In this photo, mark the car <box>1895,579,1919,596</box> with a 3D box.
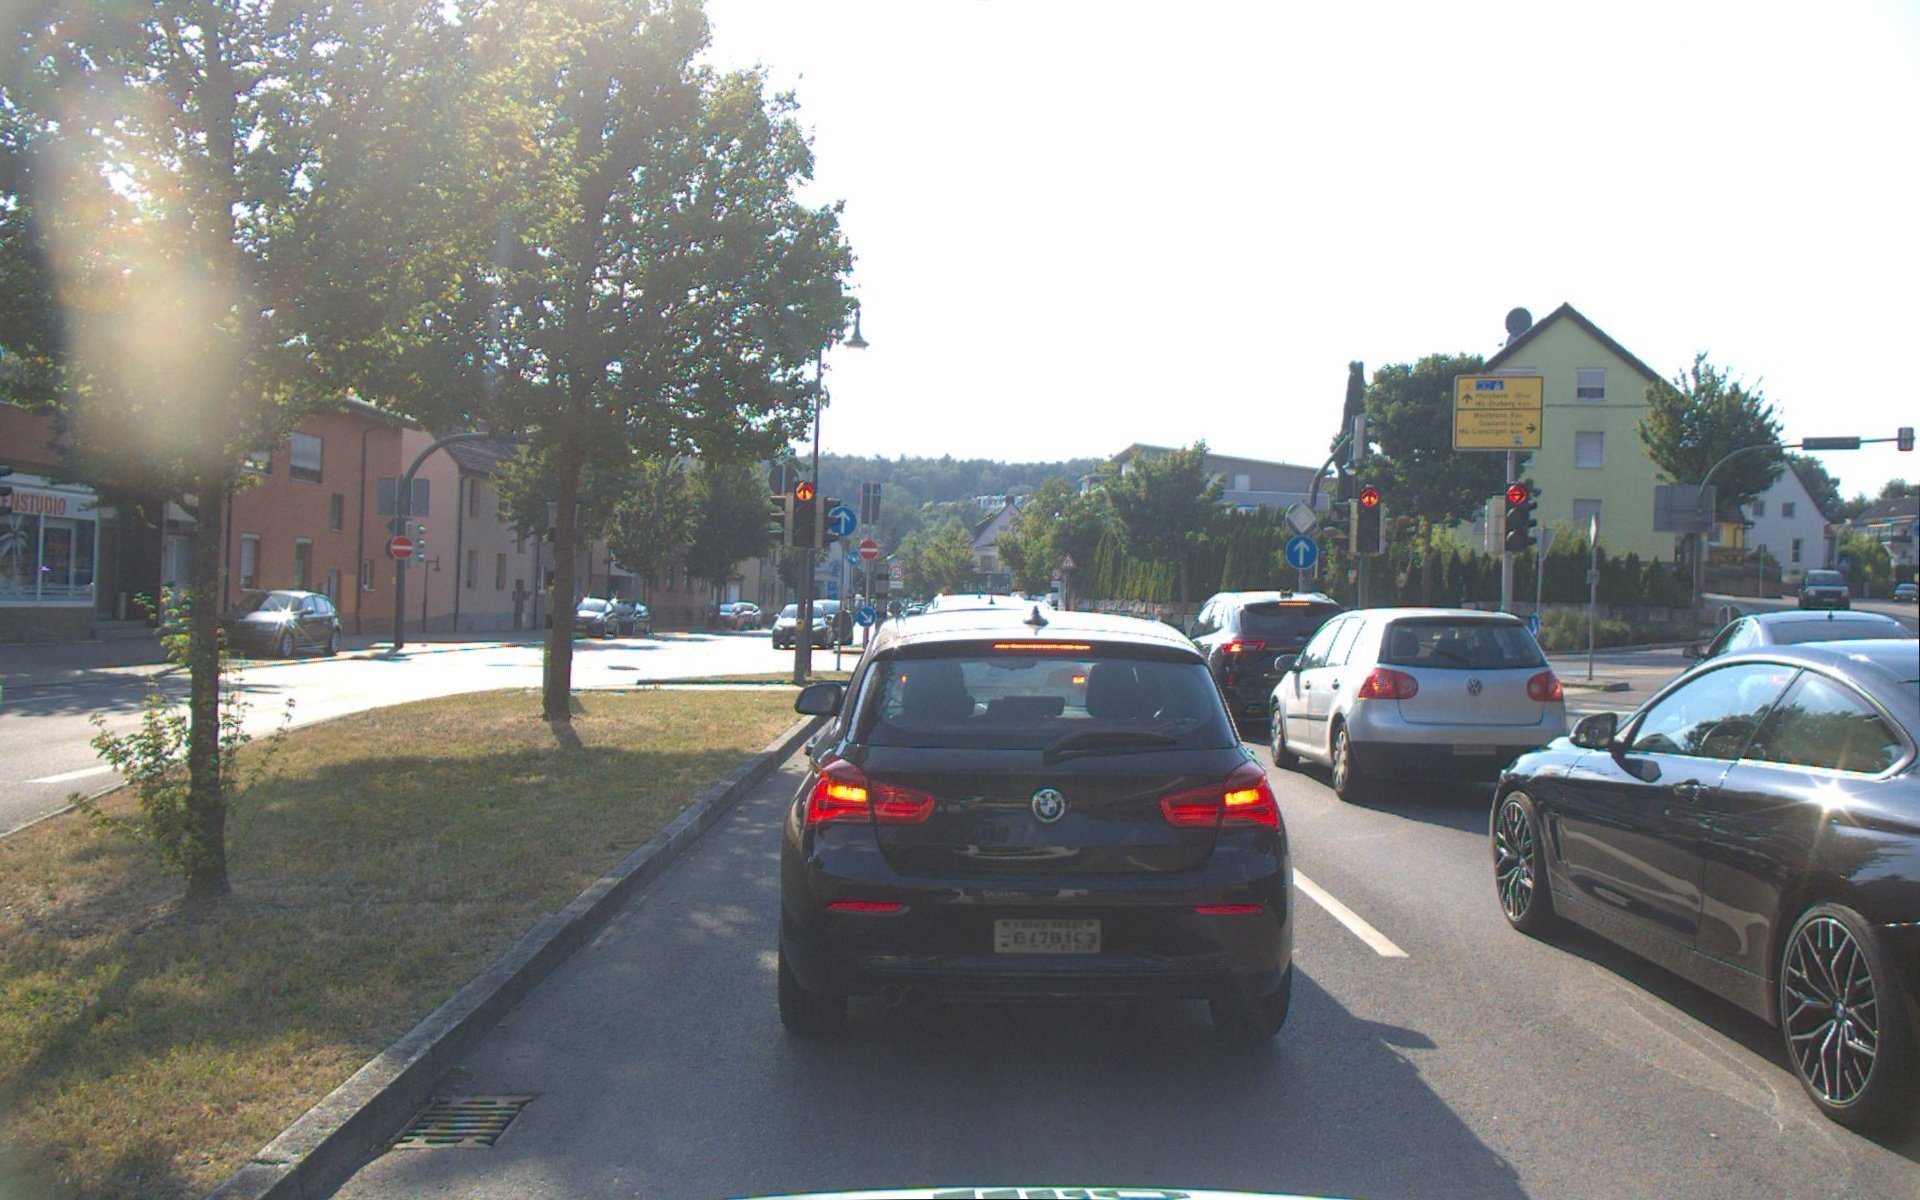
[{"bbox_3d":[75.440,-0.991,131.669,1.678,1.266,3.995,1,1,28],"label":"car"}]

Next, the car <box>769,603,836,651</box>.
[{"bbox_3d":[-5.193,0.867,54.943,1.730,1.484,4.000,1,0,1],"label":"car"}]

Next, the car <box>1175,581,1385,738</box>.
[{"bbox_3d":[3.790,0.644,20.309,1.779,1.695,4.347,1,0,1],"label":"car"}]

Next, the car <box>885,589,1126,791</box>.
[{"bbox_3d":[0.367,0.666,14.429,1.779,1.476,4.242,1,0,1],"label":"car"}]

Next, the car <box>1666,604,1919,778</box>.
[{"bbox_3d":[8.420,0.786,16.388,1.645,1.460,4.593,1,0,10],"label":"car"}]

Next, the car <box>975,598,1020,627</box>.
[{"bbox_3d":[2.005,0.670,89.703,1.826,1.511,4.652,1,0,-6],"label":"car"}]

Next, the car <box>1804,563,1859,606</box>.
[{"bbox_3d":[35.752,-0.651,67.946,1.750,1.533,4.068,1,4,25],"label":"car"}]

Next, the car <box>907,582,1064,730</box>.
[{"bbox_3d":[0.319,0.637,21.107,1.779,1.670,4.242,1,0,1],"label":"car"}]

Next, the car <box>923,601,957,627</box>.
[{"bbox_3d":[-1.380,0.919,110.252,1.854,1.732,4.518,0,0,-6],"label":"car"}]

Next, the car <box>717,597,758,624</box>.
[{"bbox_3d":[-13.782,0.639,102.705,1.884,1.624,4.000,1,0,1],"label":"car"}]

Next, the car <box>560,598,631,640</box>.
[{"bbox_3d":[-14.721,0.753,66.975,1.884,1.624,4.000,1,0,1],"label":"car"}]

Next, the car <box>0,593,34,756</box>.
[{"bbox_3d":[-9.079,0.637,12.685,1.611,1.411,4.189,1,0,-1],"label":"car"}]

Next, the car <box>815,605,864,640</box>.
[{"bbox_3d":[-5.013,0.935,69.254,1.658,1.377,4.000,1,0,1],"label":"car"}]

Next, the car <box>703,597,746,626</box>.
[{"bbox_3d":[-13.828,0.651,97.199,1.884,1.624,4.000,1,0,1],"label":"car"}]

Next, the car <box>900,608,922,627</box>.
[{"bbox_3d":[-4.354,1.581,147.742,1.885,1.624,3.999,1,0,-1],"label":"car"}]

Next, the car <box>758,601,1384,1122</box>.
[{"bbox_3d":[0.343,0.742,6.860,1.754,1.439,4.347,1,0,1],"label":"car"}]

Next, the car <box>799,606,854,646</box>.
[{"bbox_3d":[-4.976,0.952,62.048,1.658,1.377,4.000,1,0,1],"label":"car"}]

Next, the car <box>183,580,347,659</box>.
[{"bbox_3d":[-15.522,0.407,37.158,1.805,1.579,4.001,3,0,2],"label":"car"}]

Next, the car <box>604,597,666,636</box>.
[{"bbox_3d":[-14.385,0.706,73.347,1.884,1.624,4.000,1,0,1],"label":"car"}]

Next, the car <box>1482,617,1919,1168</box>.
[{"bbox_3d":[3.463,0.807,6.036,1.779,1.413,4.347,1,0,1],"label":"car"}]

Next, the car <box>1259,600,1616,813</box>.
[{"bbox_3d":[3.768,0.751,13.864,1.779,1.471,4.347,1,0,1],"label":"car"}]
